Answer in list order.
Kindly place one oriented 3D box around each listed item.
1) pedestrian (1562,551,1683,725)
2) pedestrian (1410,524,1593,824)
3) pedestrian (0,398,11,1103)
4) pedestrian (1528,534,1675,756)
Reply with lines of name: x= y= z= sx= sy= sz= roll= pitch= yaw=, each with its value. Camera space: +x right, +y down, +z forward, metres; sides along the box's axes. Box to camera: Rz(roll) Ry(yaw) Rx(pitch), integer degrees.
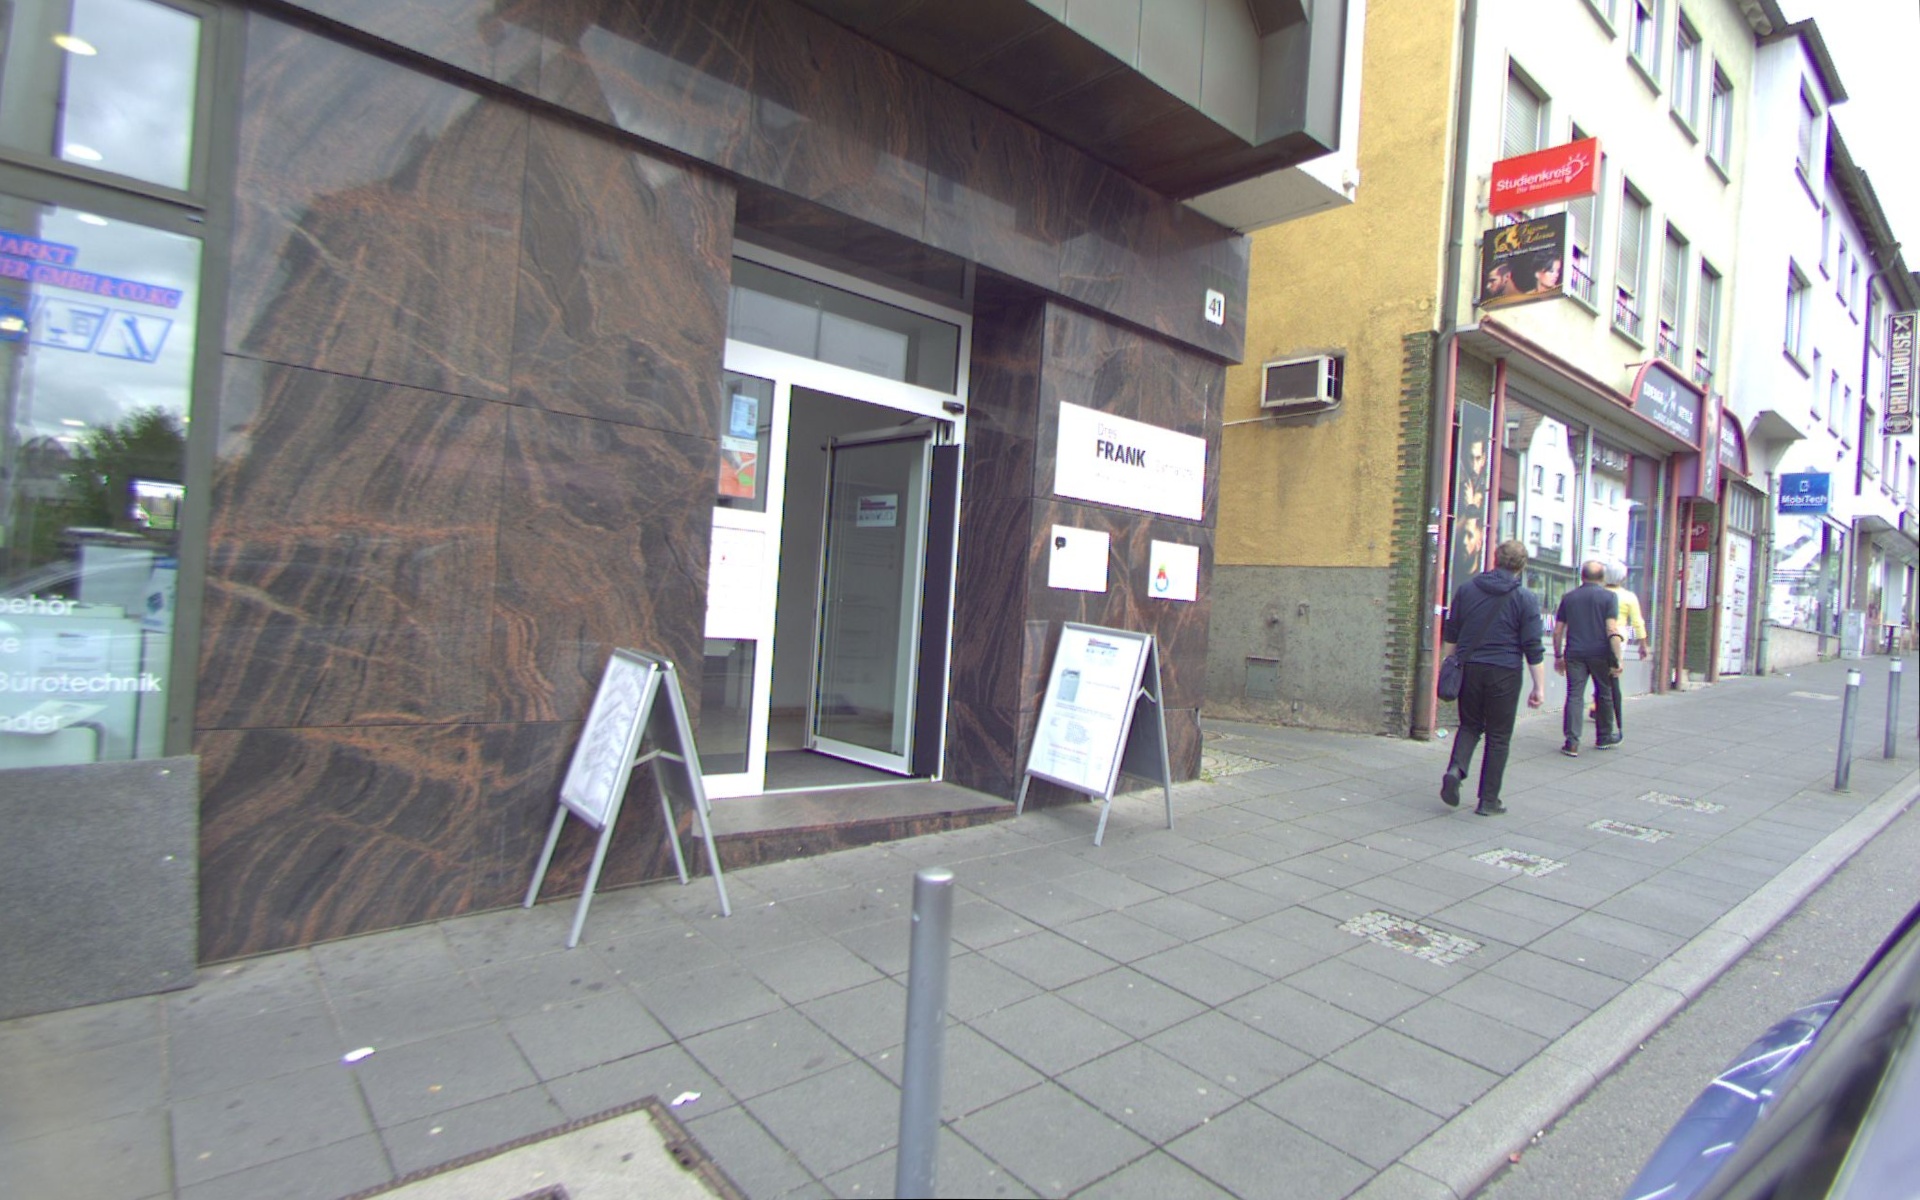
pedestrian: x=6.705 y=0.357 z=10.246 sx=0.820 sy=1.651 sz=0.713 roll=1 pitch=4 yaw=-40
pedestrian: x=3.475 y=0.420 z=6.505 sx=0.773 sy=1.774 sz=0.713 roll=0 pitch=3 yaw=-40
pedestrian: x=-2.708 y=0.347 z=2.464 sx=0.663 sy=1.709 sz=0.535 roll=7 pitch=5 yaw=43
pedestrian: x=5.520 y=0.356 z=8.725 sx=0.771 sy=1.773 sz=0.713 roll=1 pitch=5 yaw=-40
